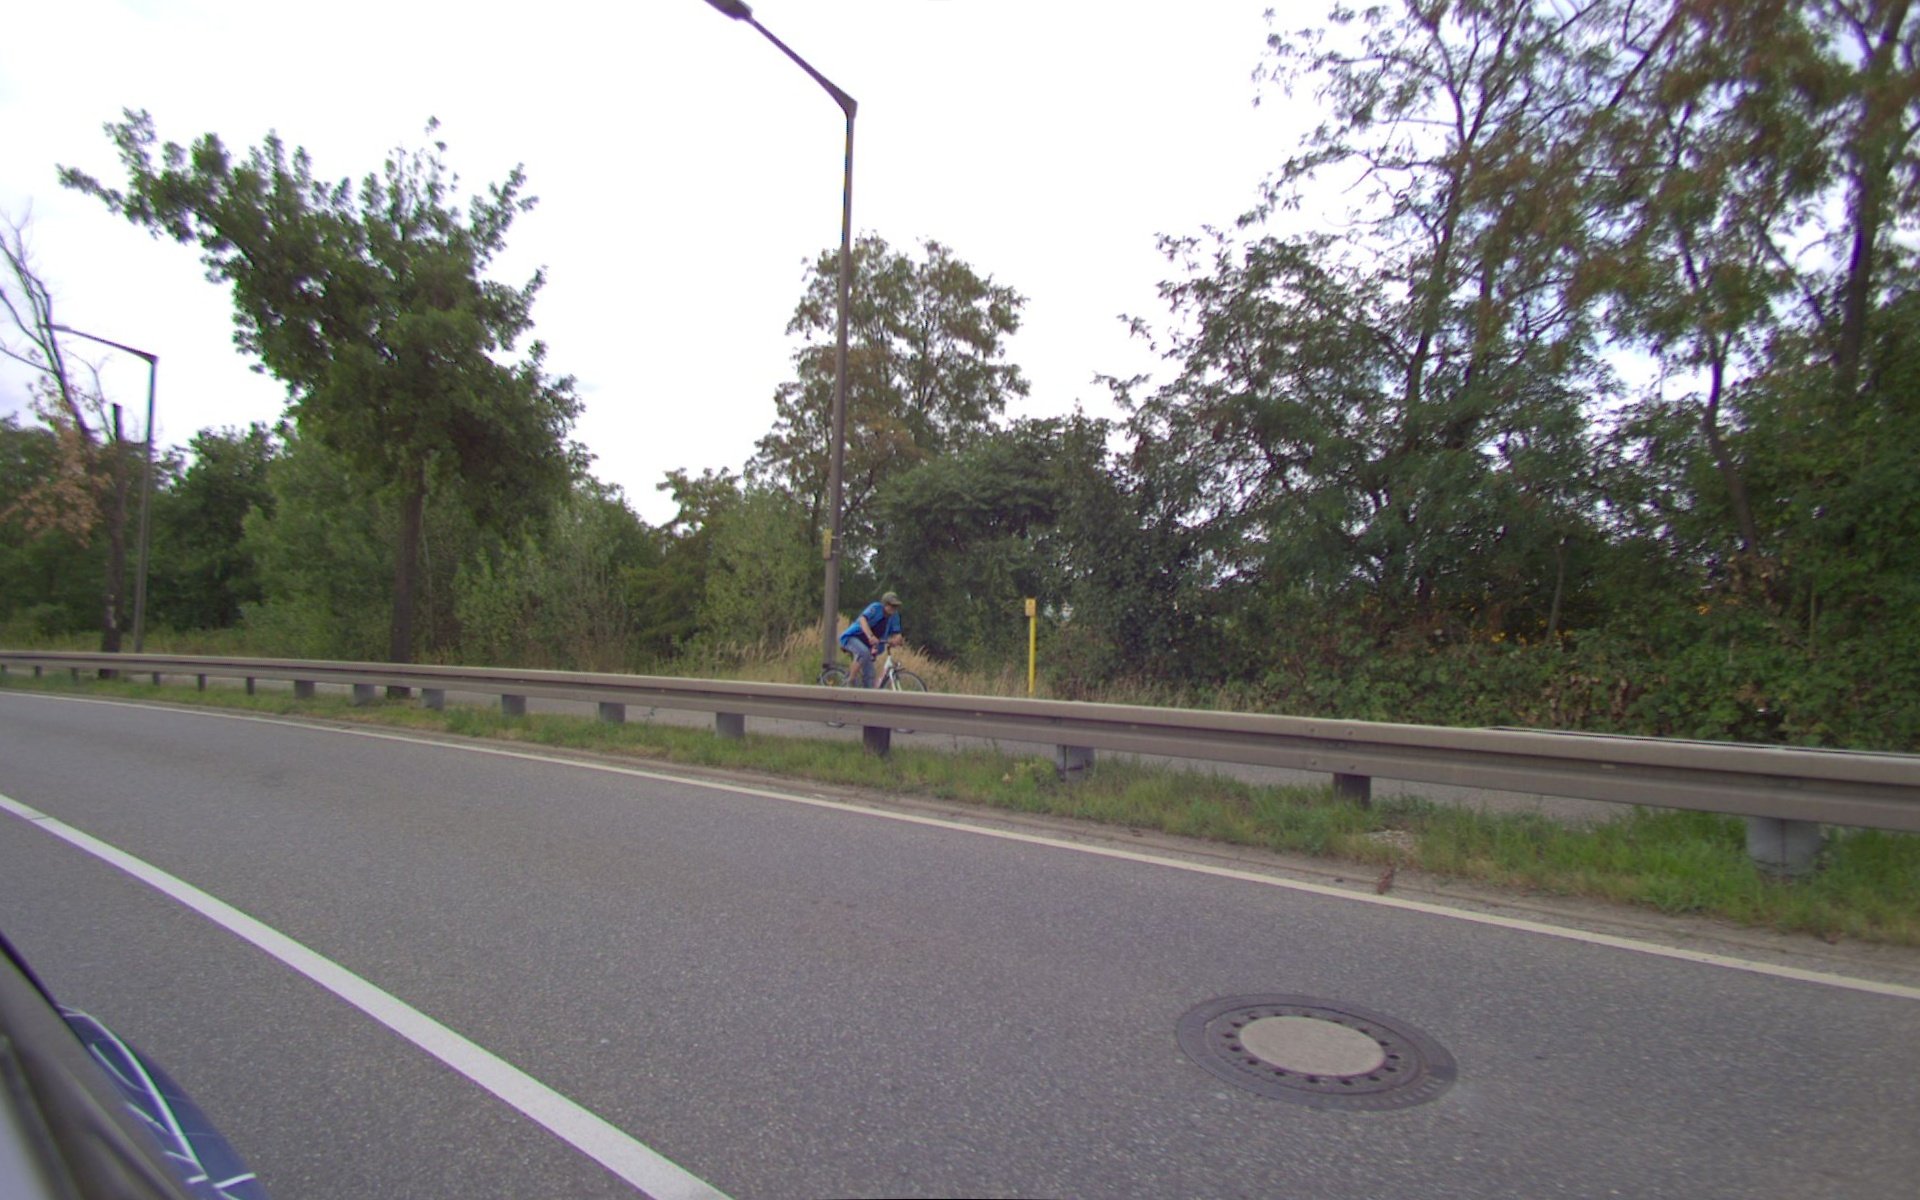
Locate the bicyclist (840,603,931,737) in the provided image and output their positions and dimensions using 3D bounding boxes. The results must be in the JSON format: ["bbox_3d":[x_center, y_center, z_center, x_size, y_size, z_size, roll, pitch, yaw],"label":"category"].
[{"bbox_3d":[-0.852,0.769,11.557,0.747,1.455,0.704,-2,-1,38],"label":"bicyclist"}]

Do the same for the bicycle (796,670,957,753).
[{"bbox_3d":[-0.988,1.250,11.658,1.890,0.804,0.685,-2,-1,38],"label":"bicycle"}]
